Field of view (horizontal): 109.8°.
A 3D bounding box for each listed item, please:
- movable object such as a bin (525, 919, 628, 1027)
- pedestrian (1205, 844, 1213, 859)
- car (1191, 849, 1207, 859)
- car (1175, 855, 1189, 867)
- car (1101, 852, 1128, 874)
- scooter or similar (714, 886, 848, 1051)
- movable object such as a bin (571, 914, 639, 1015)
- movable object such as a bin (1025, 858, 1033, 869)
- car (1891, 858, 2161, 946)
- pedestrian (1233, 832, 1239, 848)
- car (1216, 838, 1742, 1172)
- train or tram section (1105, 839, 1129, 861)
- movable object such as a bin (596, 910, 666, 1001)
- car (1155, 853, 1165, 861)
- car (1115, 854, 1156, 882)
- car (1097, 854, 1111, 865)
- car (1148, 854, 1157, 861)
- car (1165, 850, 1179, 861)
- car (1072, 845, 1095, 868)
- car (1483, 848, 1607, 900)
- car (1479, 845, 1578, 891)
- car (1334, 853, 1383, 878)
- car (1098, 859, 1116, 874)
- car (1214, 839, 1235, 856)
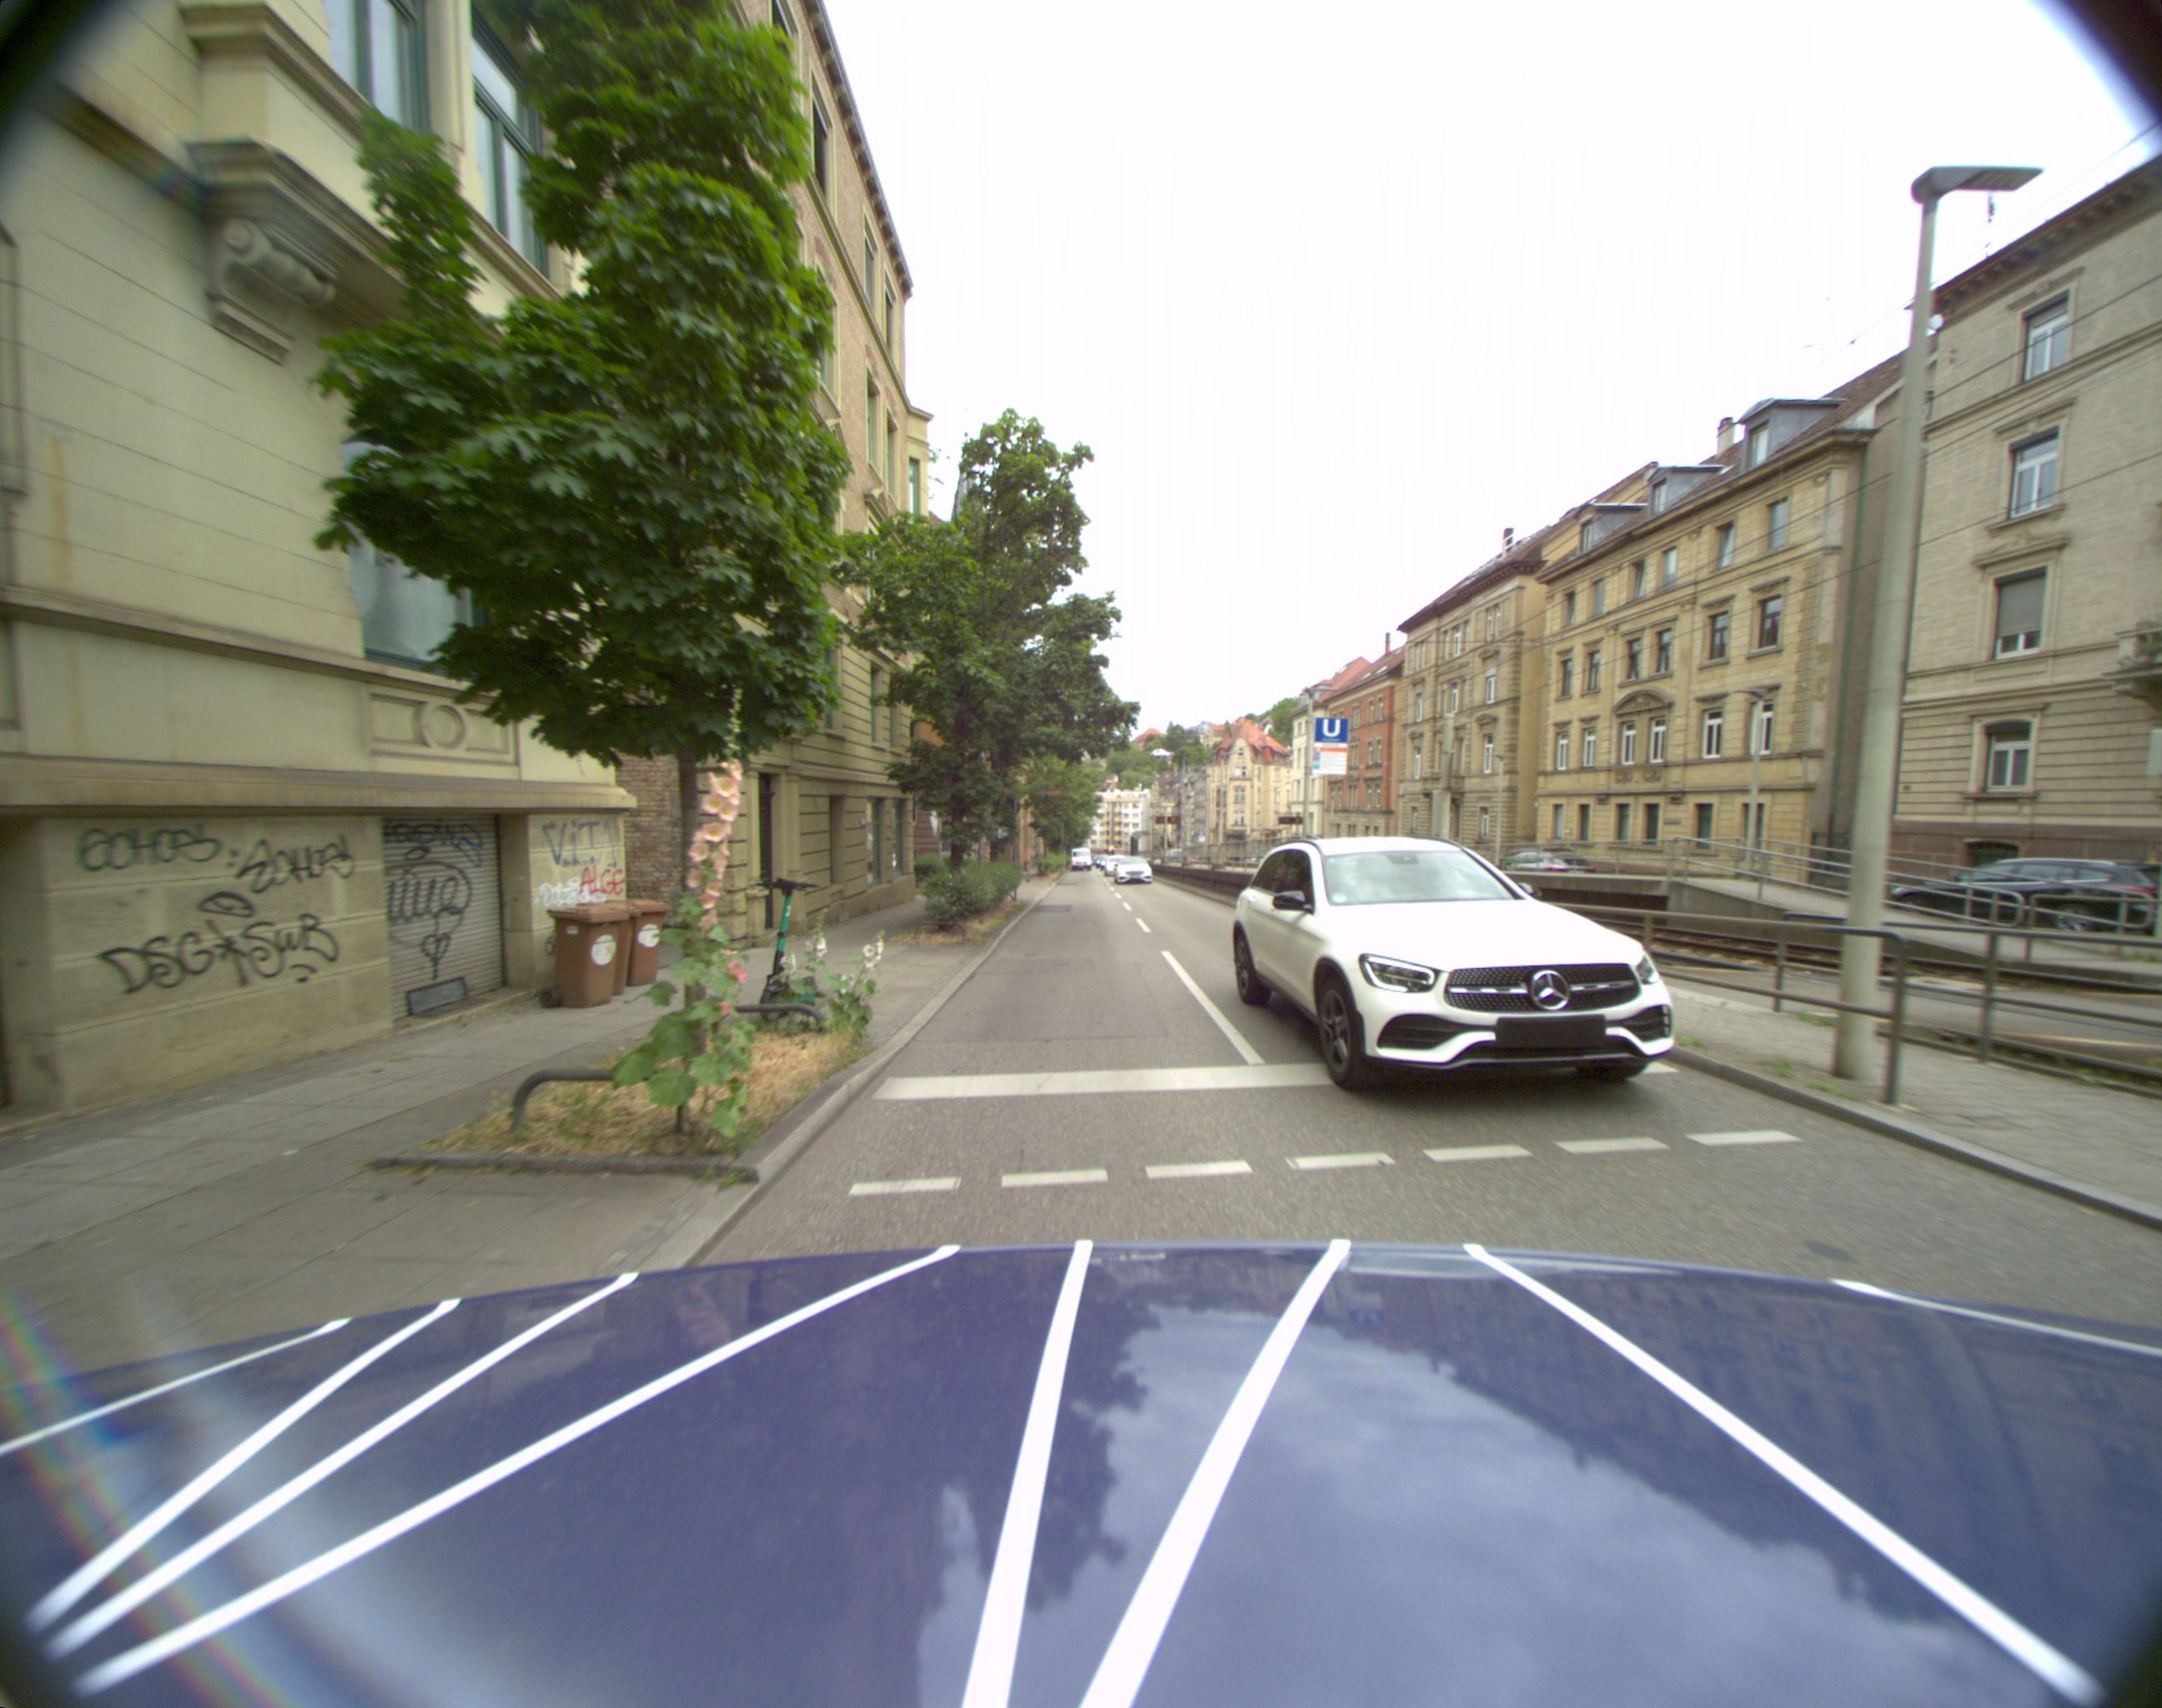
[{"bbox_3d":[-4.706,1.096,7.111,0.613,0.914,0.493,2,1,3],"label":"movable object such as a bin"},{"bbox_3d":[14.050,-0.296,83.194,0.767,1.678,0.843,0,0,1],"label":"pedestrian"},{"bbox_3d":[19.285,0.013,123.883,1.867,1.636,4.414,0,0,-1],"label":"car"},{"bbox_3d":[18.478,1.253,139.338,1.998,2.291,5.455,0,0,0],"label":"car"},{"bbox_3d":[2.420,0.643,55.439,1.806,1.542,4.000,-1,0,0],"label":"car"},{"bbox_3d":[-2.726,0.988,7.064,0.663,1.296,1.383,2,1,0],"label":"scooter or similar"},{"bbox_3d":[-4.825,1.099,7.703,0.503,0.914,0.491,1,1,-41],"label":"movable object such as a bin"},{"bbox_3d":[-4.397,0.819,64.389,0.672,0.937,0.539,0,1,4],"label":"movable object such as a bin"},{"bbox_3d":[18.913,0.826,14.867,1.682,1.439,4.218,1,0,1],"label":"car"},{"bbox_3d":[14.668,-1.302,71.920,0.463,1.553,0.540,0,1,0],"label":"pedestrian"},{"bbox_3d":[2.455,0.751,6.214,1.840,1.657,4.670,-2,1,0],"label":"car"},{"bbox_3d":[5.912,-0.601,127.945,2.968,3.456,14.407,0,0,-1],"label":"train or tram section"},{"bbox_3d":[-4.931,1.098,8.337,0.500,0.914,0.444,0,0,20],"label":"movable object such as a bin"},{"bbox_3d":[16.227,0.597,156.390,1.827,1.754,3.865,0,0,3],"label":"car"},{"bbox_3d":[2.835,0.707,40.244,1.806,1.391,4.000,-1,0,0],"label":"car"},{"bbox_3d":[2.750,0.680,92.747,1.562,1.330,4.000,0,0,0],"label":"car"},{"bbox_3d":[16.576,0.828,176.083,1.827,1.754,3.864,0,0,2],"label":"car"},{"bbox_3d":[15.989,0.304,133.706,1.999,1.884,4.414,0,0,-1],"label":"car"},{"bbox_3d":[0.230,0.274,79.481,2.263,2.274,5.967,-1,0,0],"label":"car"},{"bbox_3d":[16.514,0.656,27.343,1.713,1.725,4.576,0,0,1],"label":"car"},{"bbox_3d":[19.164,0.546,32.744,1.853,1.849,4.138,0,0,0],"label":"car"},{"bbox_3d":[19.359,0.791,53.178,1.940,1.670,4.000,1,0,0],"label":"car"},{"bbox_3d":[2.624,1.240,76.543,1.694,1.466,3.857,0,0,1],"label":"car"},{"bbox_3d":[19.843,-0.884,105.361,1.998,2.291,5.455,0,0,0],"label":"car"}]
